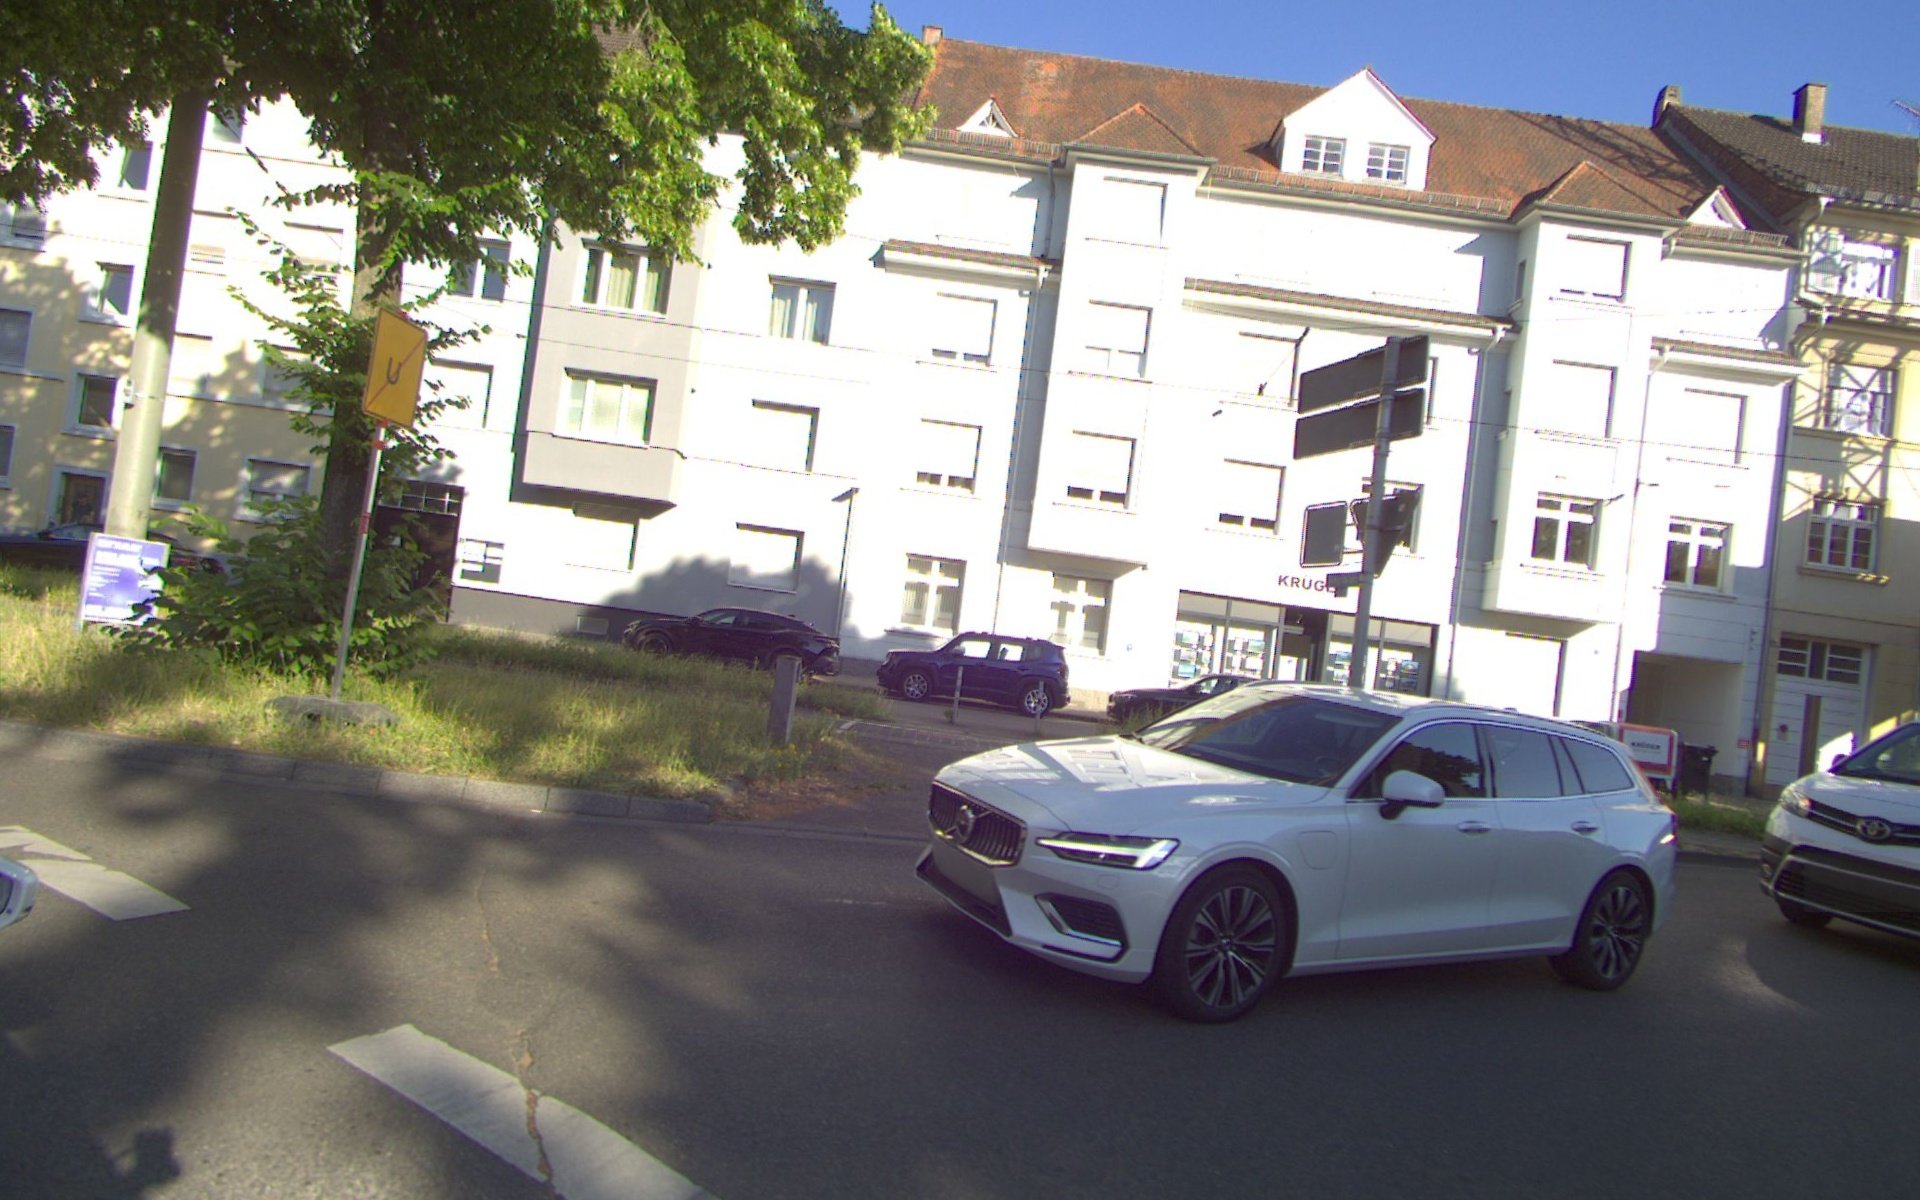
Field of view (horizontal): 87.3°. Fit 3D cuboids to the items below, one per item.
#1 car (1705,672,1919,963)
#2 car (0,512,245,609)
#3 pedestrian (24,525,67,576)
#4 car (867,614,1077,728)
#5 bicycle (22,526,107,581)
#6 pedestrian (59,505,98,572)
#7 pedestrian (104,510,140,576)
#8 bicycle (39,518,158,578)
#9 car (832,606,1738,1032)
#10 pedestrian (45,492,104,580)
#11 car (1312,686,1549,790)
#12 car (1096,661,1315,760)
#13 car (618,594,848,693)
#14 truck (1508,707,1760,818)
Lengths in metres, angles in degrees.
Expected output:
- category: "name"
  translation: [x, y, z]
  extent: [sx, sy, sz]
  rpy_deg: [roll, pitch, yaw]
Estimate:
- category: "car"
  translation: [8.780, 1.894, 8.054]
  extent: [4.833, 1.875, 1.993]
  rpy_deg: [9, -1, -19]
- category: "car"
  translation: [-18.375, -0.853, 21.672]
  extent: [4.365, 1.402, 2.001]
  rpy_deg: [8, -2, 0]
- category: "pedestrian"
  translation: [-21.181, -1.136, 23.300]
  extent: [0.452, 1.077, 0.433]
  rpy_deg: [7, -1, 1]
- category: "car"
  translation: [0.247, 1.504, 21.748]
  extent: [4.132, 1.769, 2.001]
  rpy_deg: [8, -1, 0]
- category: "bicycle"
  translation: [-22.175, -1.145, 24.923]
  extent: [1.488, 1.144, 0.536]
  rpy_deg: [7, -1, 0]
- category: "pedestrian"
  translation: [-21.055, -1.459, 24.039]
  extent: [0.435, 1.533, 0.332]
  rpy_deg: [7, 0, -4]
- category: "pedestrian"
  translation: [-20.554, -1.391, 24.680]
  extent: [0.435, 1.533, 0.305]
  rpy_deg: [7, 0, -7]
- category: "bicycle"
  translation: [-20.667, -1.242, 24.149]
  extent: [2.265, 1.144, 0.536]
  rpy_deg: [7, -1, 0]
- category: "car"
  translation: [1.905, 1.140, 5.538]
  extent: [4.718, 1.480, 1.843]
  rpy_deg: [9, -2, -27]
- category: "pedestrian"
  translation: [-22.064, -1.584, 25.075]
  extent: [0.637, 2.037, 0.614]
  rpy_deg: [7, -1, 0]
- category: "car"
  translation: [10.034, 2.931, 21.706]
  extent: [4.022, 1.469, 2.001]
  rpy_deg: [8, -1, 0]
- category: "car"
  translation: [5.175, 2.334, 21.710]
  extent: [4.131, 1.402, 2.002]
  rpy_deg: [8, -2, 2]
- category: "car"
  translation: [-4.783, 0.928, 21.680]
  extent: [4.365, 1.402, 2.001]
  rpy_deg: [8, -2, 0]
- category: "truck"
  translation: [14.677, 3.519, 22.087]
  extent: [4.022, 1.604, 2.001]
  rpy_deg: [8, -1, 0]
